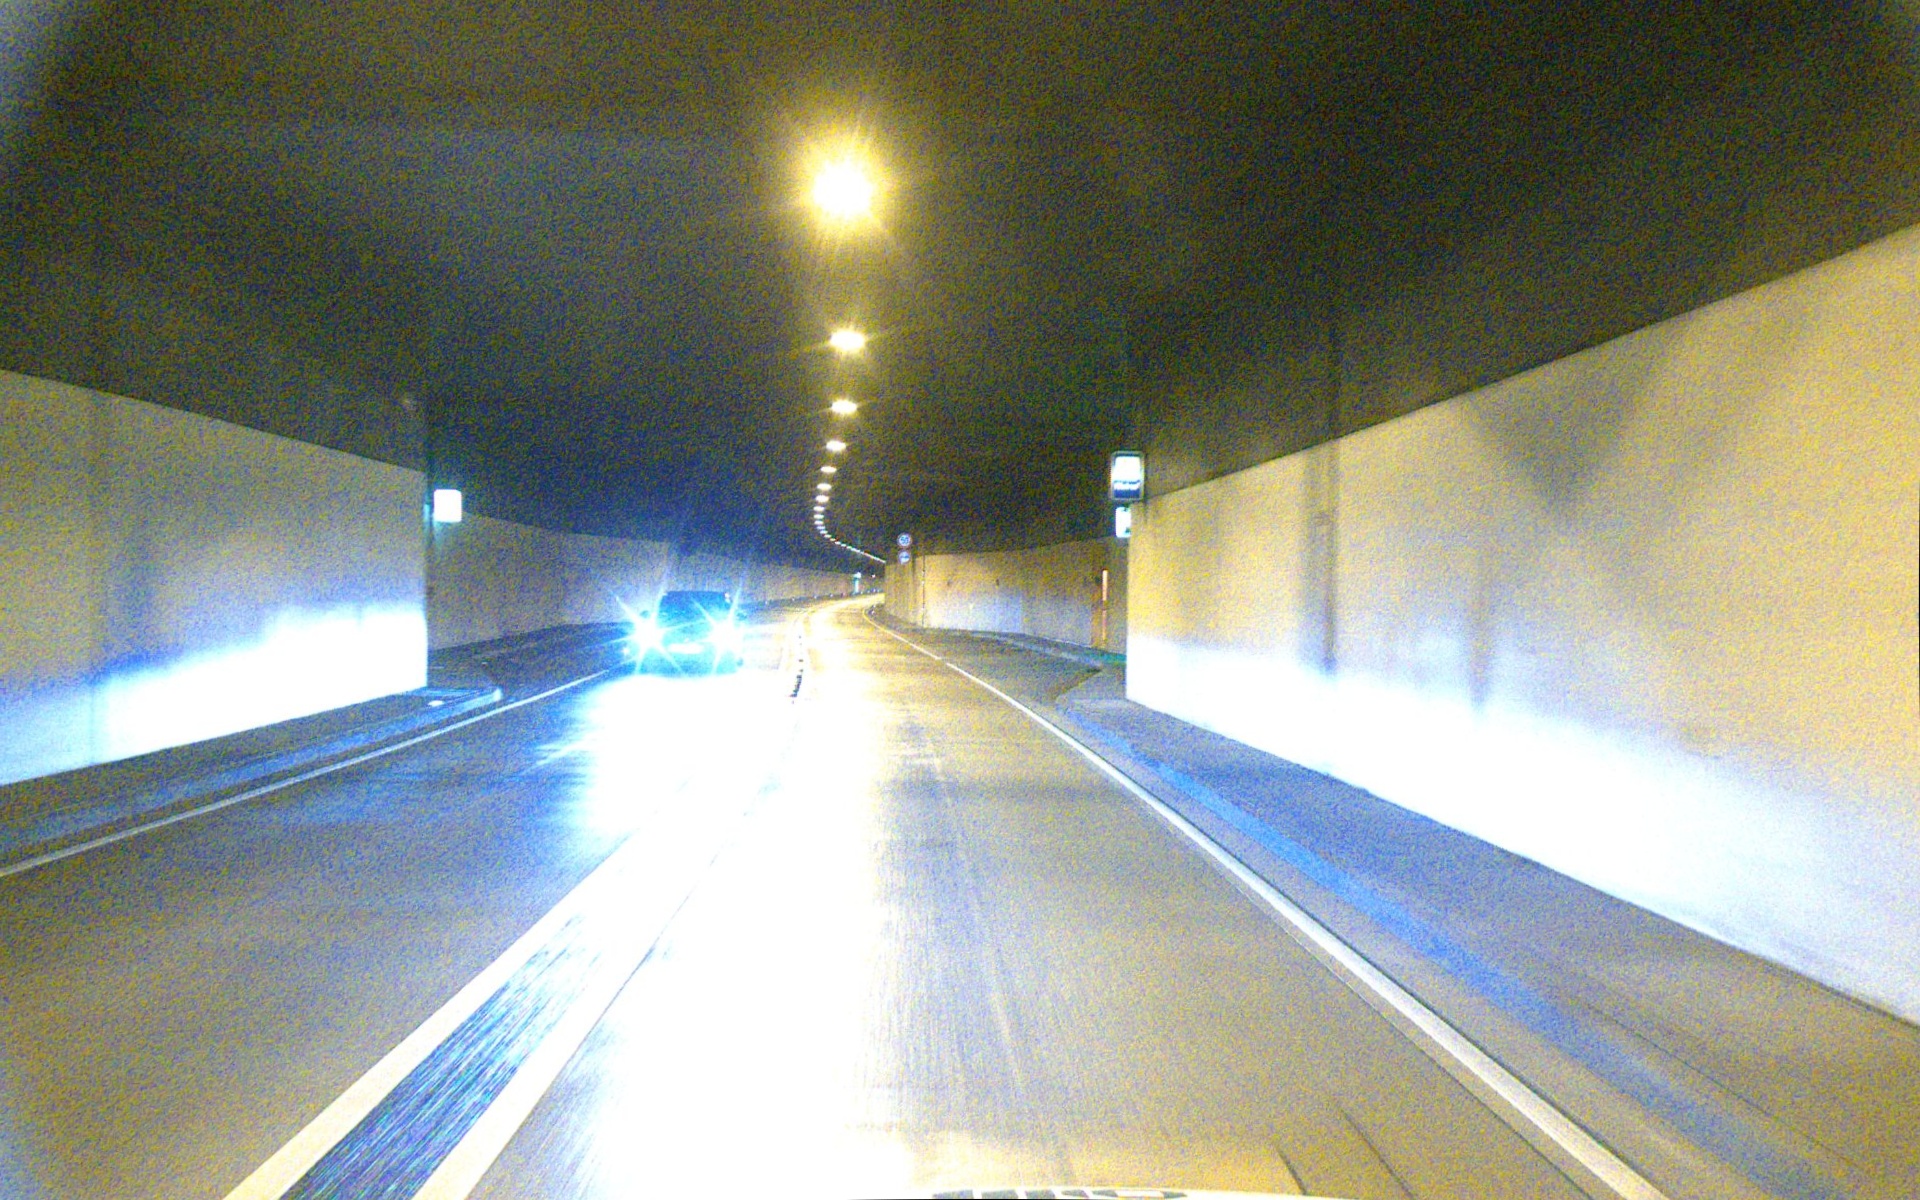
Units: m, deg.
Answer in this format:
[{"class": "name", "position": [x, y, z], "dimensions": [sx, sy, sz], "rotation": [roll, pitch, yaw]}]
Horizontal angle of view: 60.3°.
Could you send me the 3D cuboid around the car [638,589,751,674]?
[{"class": "car", "position": [-4.904, 0.542, 31.042], "dimensions": [1.674, 1.440, 4.114], "rotation": [2, 0, -4]}]
